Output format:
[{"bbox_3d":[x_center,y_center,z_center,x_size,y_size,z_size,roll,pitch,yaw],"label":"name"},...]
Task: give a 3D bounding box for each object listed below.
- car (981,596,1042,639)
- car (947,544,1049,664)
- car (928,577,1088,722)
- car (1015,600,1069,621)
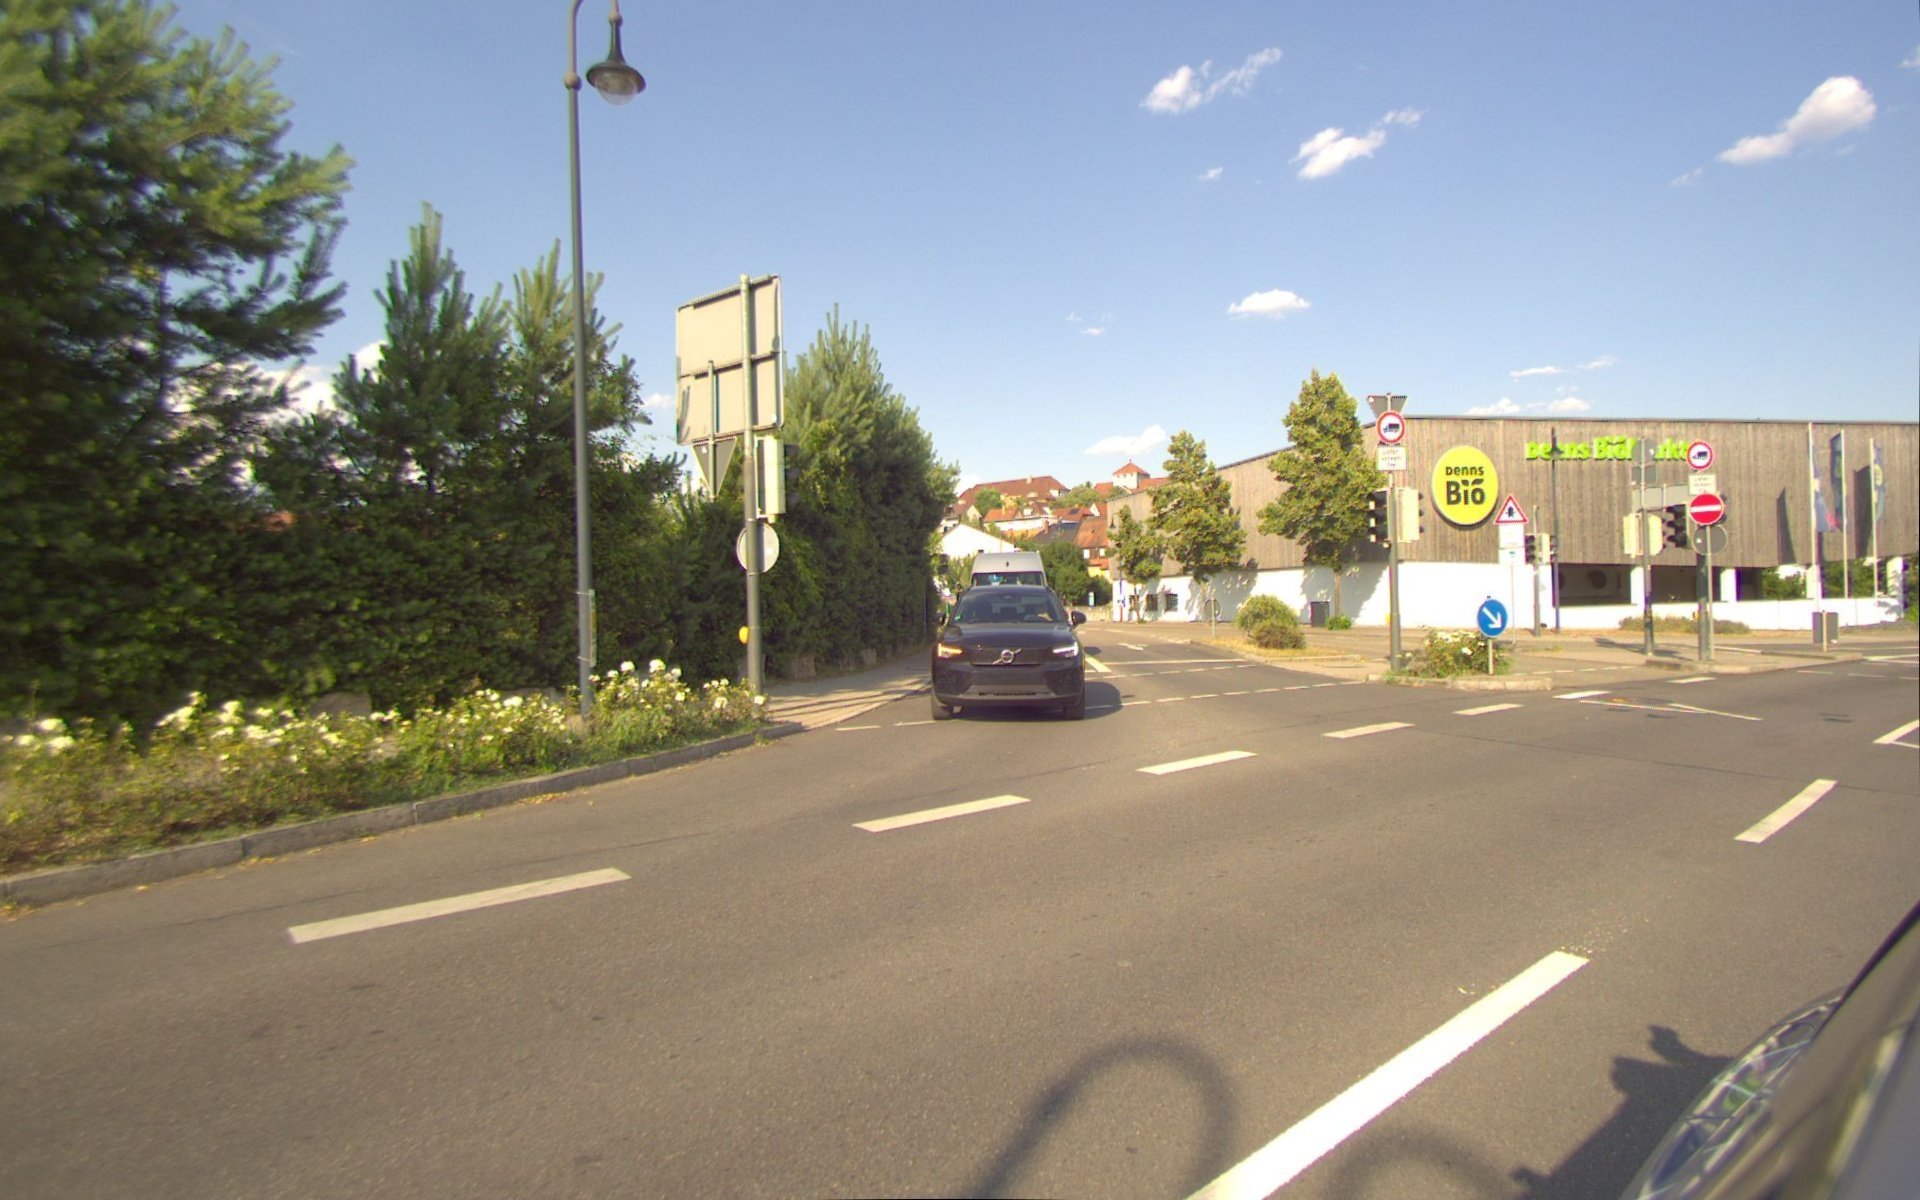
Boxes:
[{"bbox_3d":[1.869,0.611,37.916,1.821,1.471,4.003,0,0,-4],"label":"car"},{"bbox_3d":[0.935,0.049,24.526,2.154,2.553,5.856,0,0,3],"label":"car"},{"bbox_3d":[0.672,0.525,13.265,1.760,1.586,4.266,0,0,4],"label":"car"},{"bbox_3d":[7.022,0.888,87.114,4.225,1.745,1.898,0,0,-12],"label":"car"}]
